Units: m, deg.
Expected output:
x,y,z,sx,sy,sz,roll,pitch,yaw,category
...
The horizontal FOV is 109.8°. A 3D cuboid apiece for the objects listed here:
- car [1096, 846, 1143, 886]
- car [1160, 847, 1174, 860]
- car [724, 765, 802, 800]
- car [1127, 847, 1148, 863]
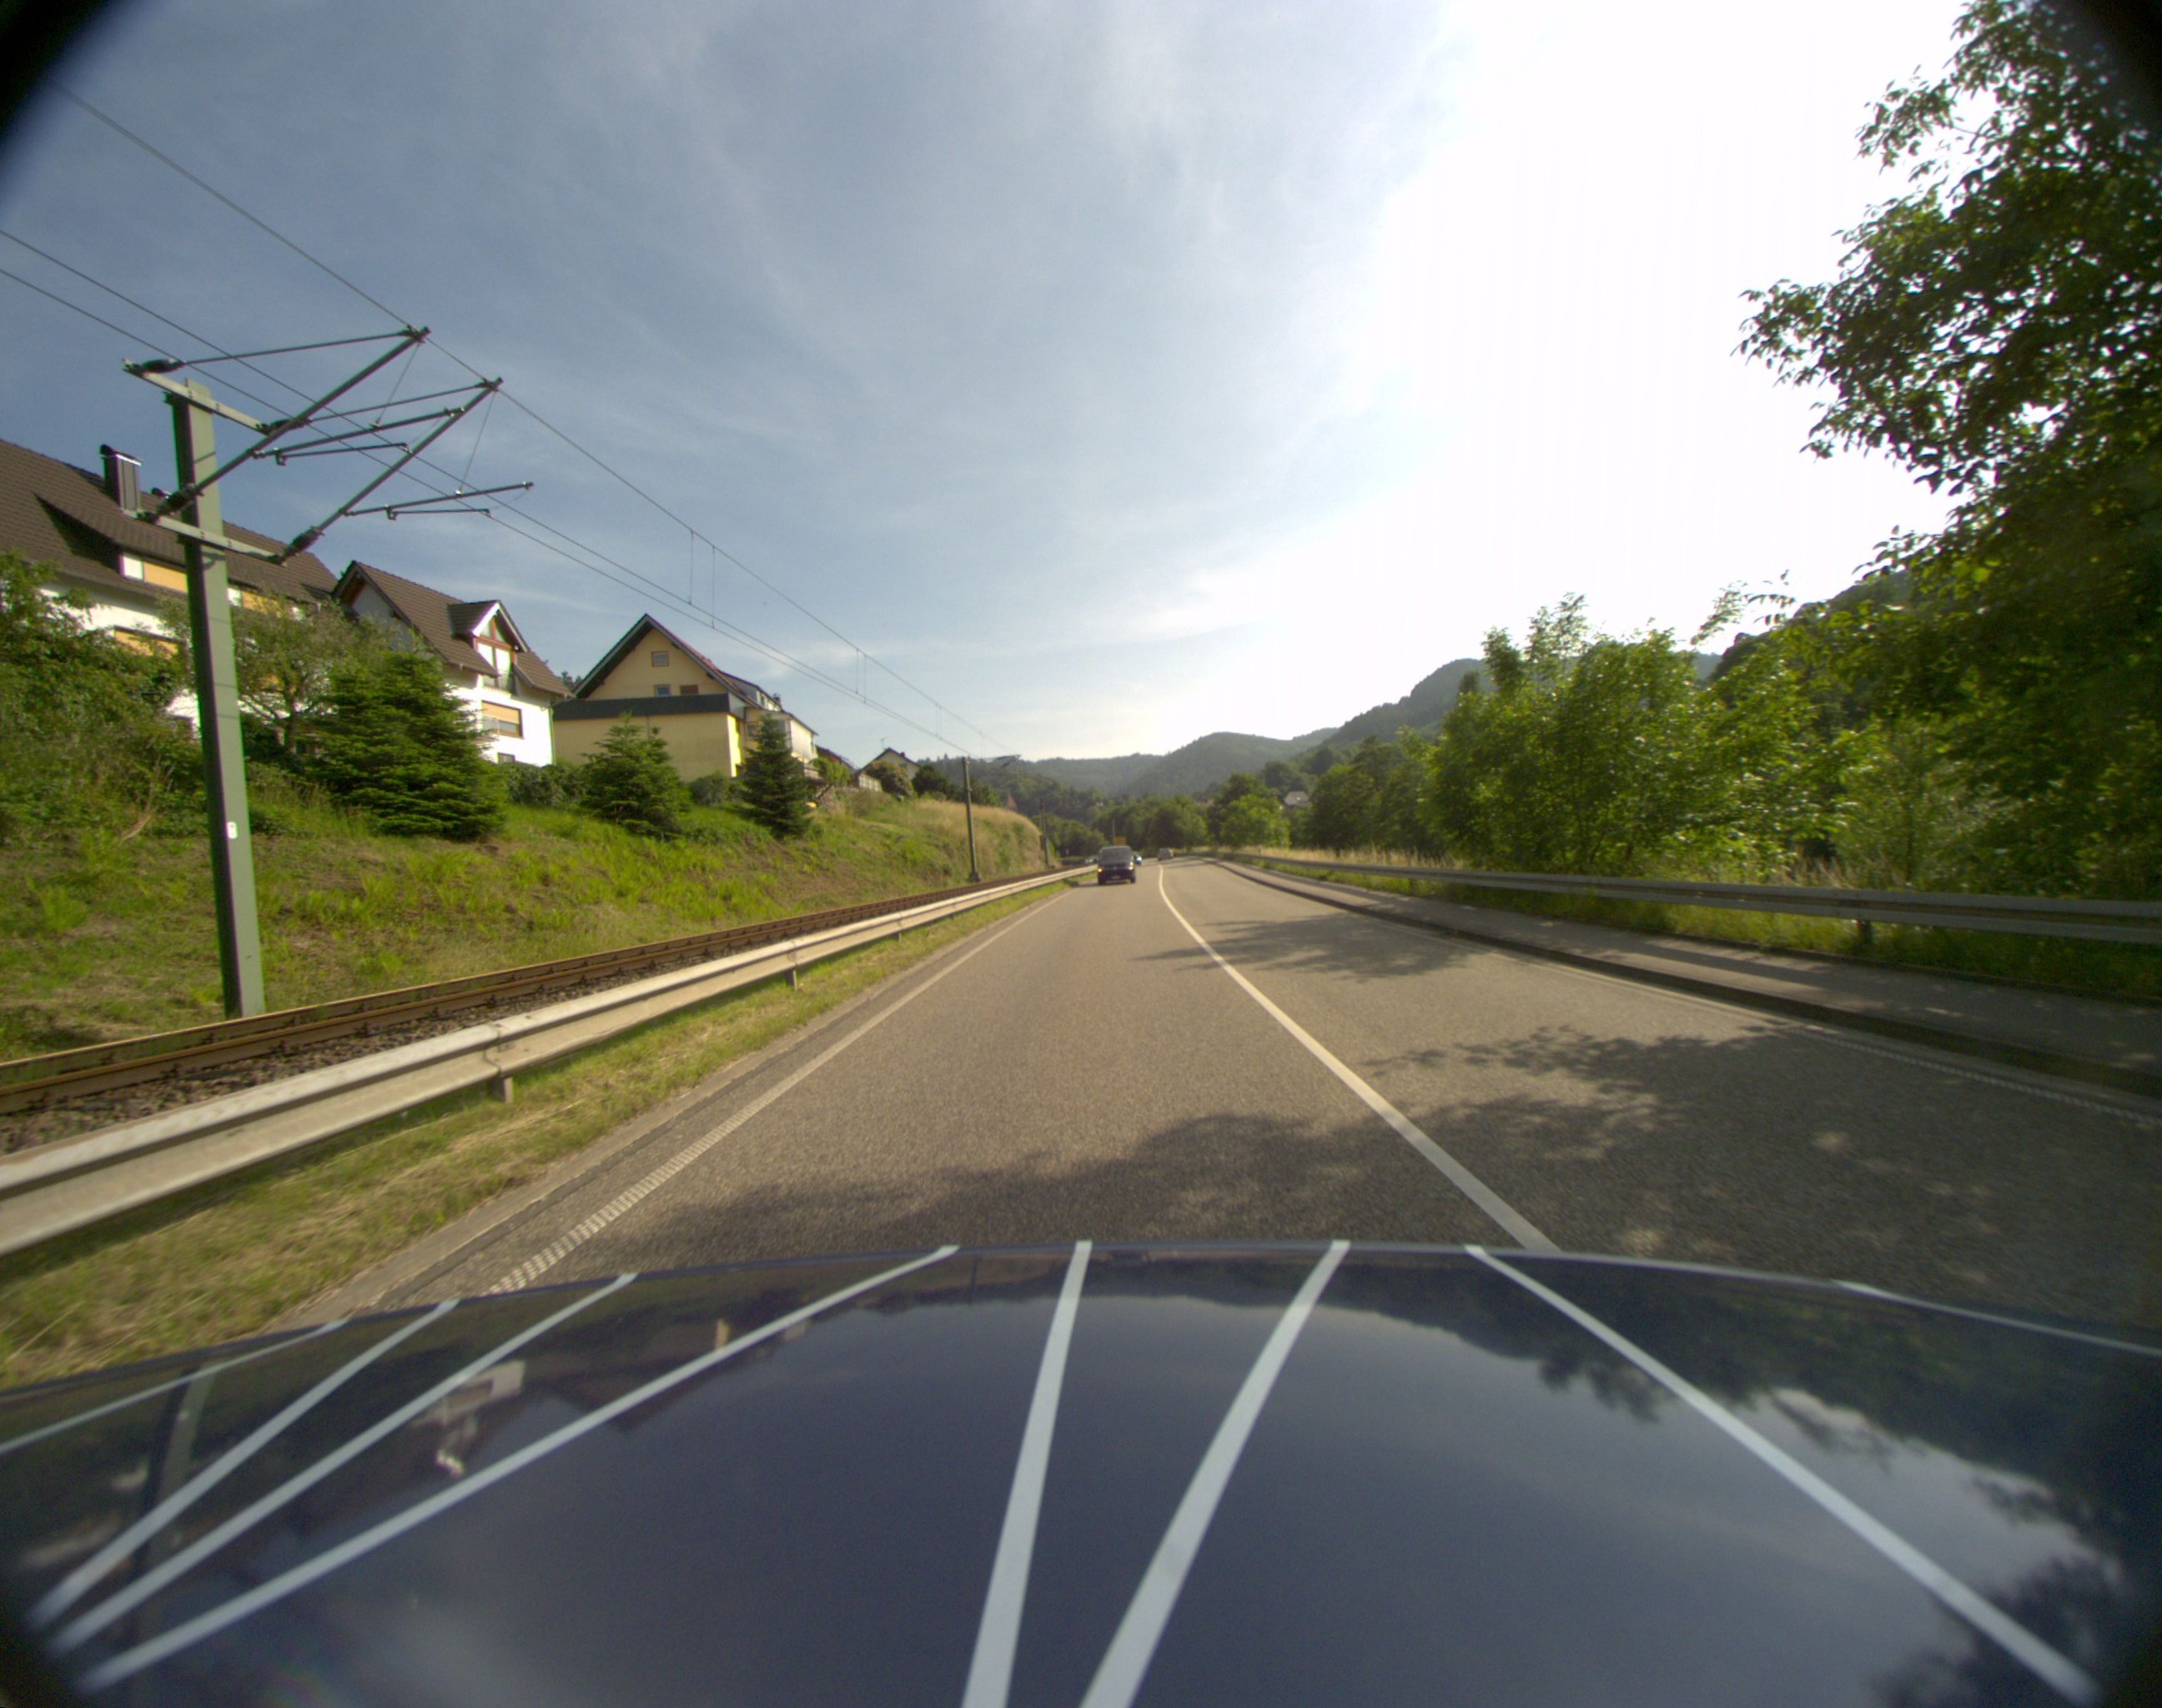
x,y,z,sx,sy,sz,roll,pitch,yaw,category
2.063,0.582,39.621,2.017,1.905,4.314,-3,0,7,car
10.869,-0.066,96.048,1.581,1.471,4.001,-3,0,5,car
-18.926,-4.249,45.351,3.750,1.531,1.752,-7,2,-1,car
6.514,0.074,87.159,1.884,1.735,4.181,-3,0,9,car
